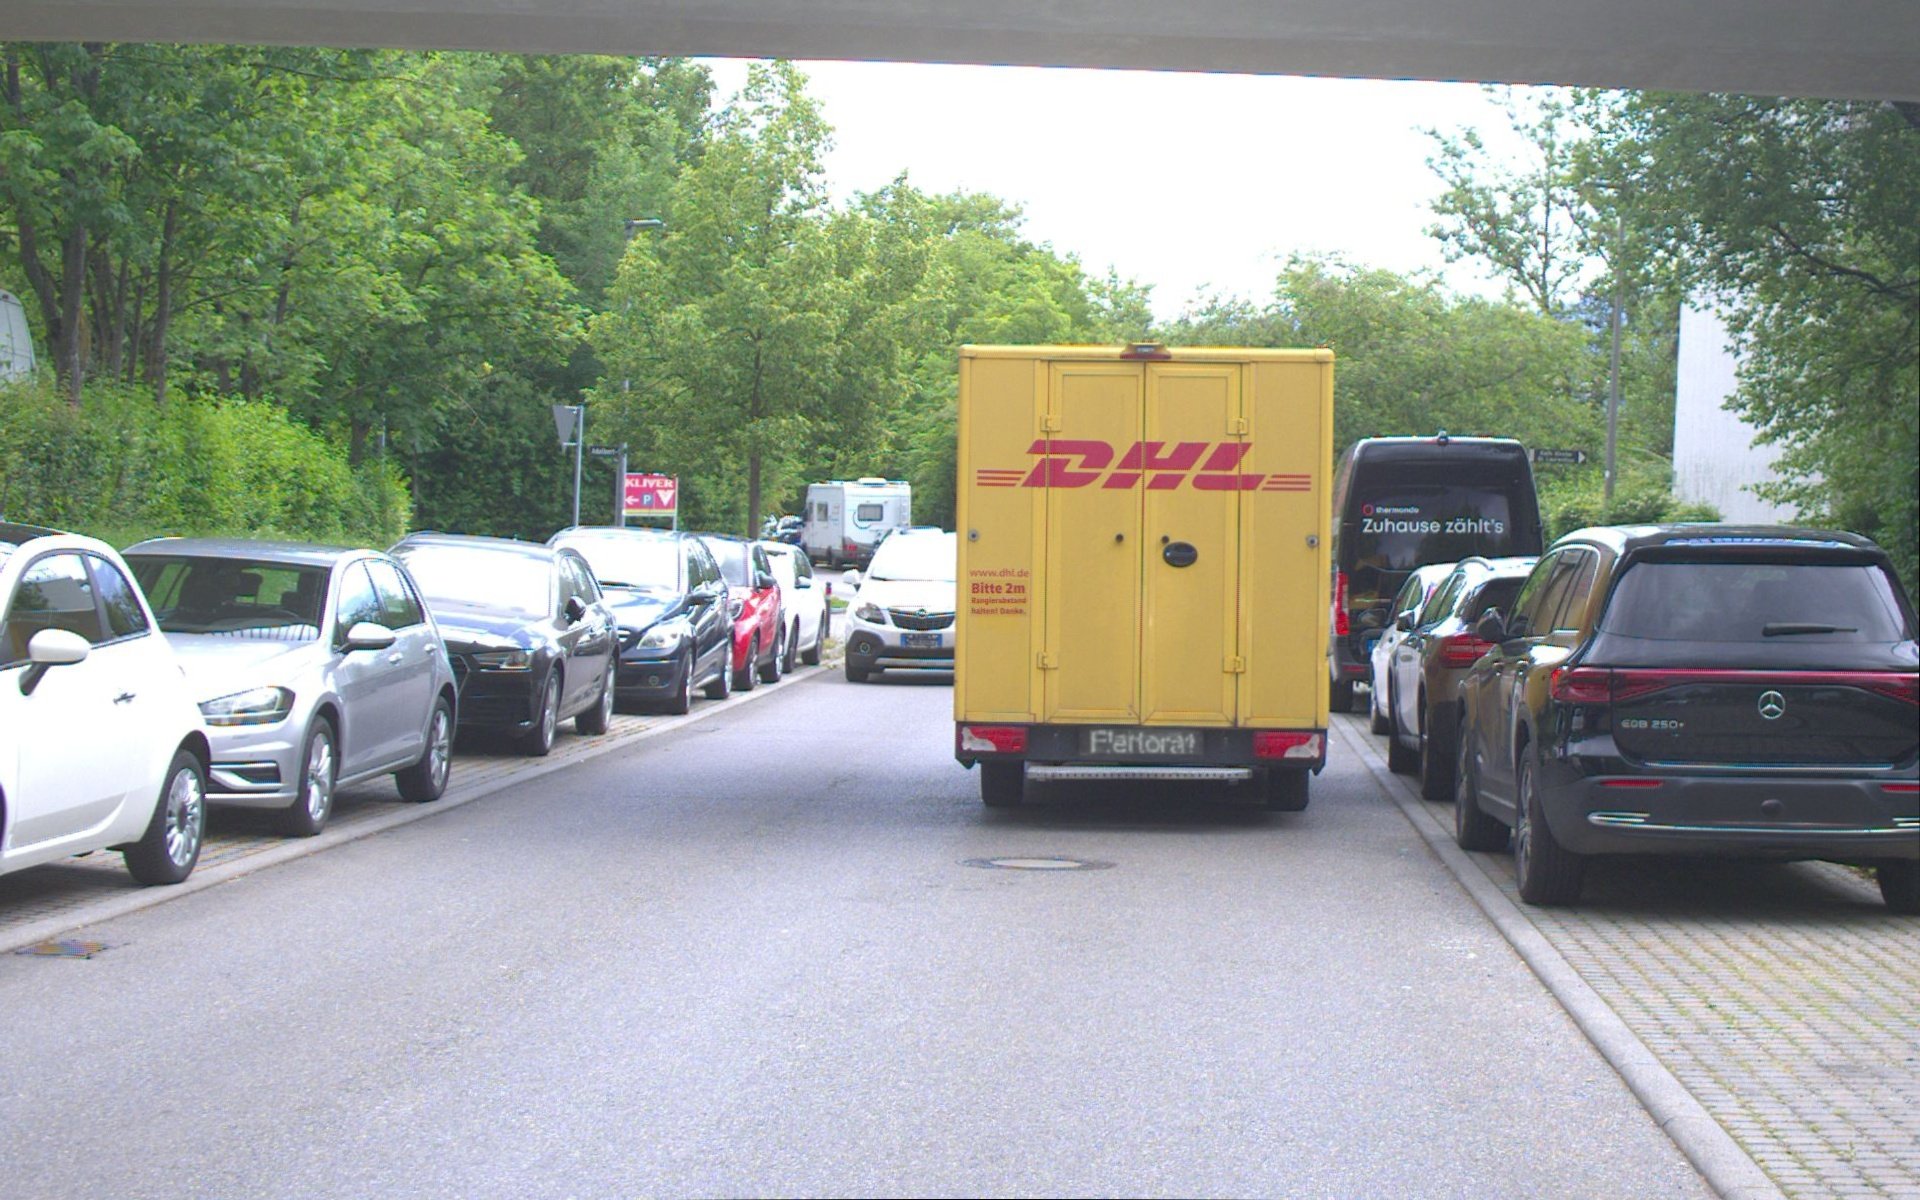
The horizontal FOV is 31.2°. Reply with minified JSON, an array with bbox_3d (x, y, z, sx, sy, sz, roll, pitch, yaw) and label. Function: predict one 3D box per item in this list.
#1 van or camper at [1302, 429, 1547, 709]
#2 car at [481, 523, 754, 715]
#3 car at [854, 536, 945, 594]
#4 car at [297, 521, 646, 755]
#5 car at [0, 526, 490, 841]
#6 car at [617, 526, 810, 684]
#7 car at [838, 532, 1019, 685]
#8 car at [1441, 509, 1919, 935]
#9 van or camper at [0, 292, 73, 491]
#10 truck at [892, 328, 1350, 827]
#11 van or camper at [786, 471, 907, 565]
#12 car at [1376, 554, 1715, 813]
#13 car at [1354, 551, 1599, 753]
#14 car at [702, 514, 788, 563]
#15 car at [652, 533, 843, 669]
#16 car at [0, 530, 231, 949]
[{"bbox_3d":[4.457,-0.299,33.705,1.994,2.514,5.470,0,0,4],"label":"van or camper"},{"bbox_3d":[-3.048,0.130,31.365,1.885,1.553,3.838,3,1,2],"label":"car"},{"bbox_3d":[-1.842,-1.067,103.311,1.843,1.524,4.002,2,2,-13],"label":"car"},{"bbox_3d":[-3.523,0.214,25.601,1.884,1.504,4.452,3,1,0],"label":"car"},{"bbox_3d":[-3.915,0.367,18.478,1.885,1.422,3.999,3,1,5],"label":"car"},{"bbox_3d":[-2.530,0.029,35.763,1.529,1.501,2.712,3,1,5],"label":"car"},{"bbox_3d":[-0.300,0.052,38.929,1.748,1.605,4.052,1,1,3],"label":"car"},{"bbox_3d":[3.374,0.473,15.899,1.813,1.672,4.370,1,0,2],"label":"car"},{"bbox_3d":[-12.283,-2.335,37.095,4.854,2.078,2.000,3,2,-1],"label":"van or camper"},{"bbox_3d":[1.040,-0.187,22.076,2.466,2.693,6.824,0,1,3],"label":"truck"},{"bbox_3d":[-3.662,-2.654,110.086,2.323,2.862,5.262,2,2,-19],"label":"van or camper"},{"bbox_3d":[3.724,0.470,22.477,1.699,1.491,4.118,1,1,3],"label":"car"},{"bbox_3d":[4.118,0.371,27.801,1.562,1.491,3.331,1,1,2],"label":"car"},{"bbox_3d":[-7.648,-2.213,122.245,1.843,1.524,4.002,2,3,-22],"label":"car"},{"bbox_3d":[-2.444,-0.024,40.328,1.675,1.431,3.969,3,1,4],"label":"car"},{"bbox_3d":[-4.297,0.460,13.283,1.885,1.455,3.546,4,1,5],"label":"car"}]
